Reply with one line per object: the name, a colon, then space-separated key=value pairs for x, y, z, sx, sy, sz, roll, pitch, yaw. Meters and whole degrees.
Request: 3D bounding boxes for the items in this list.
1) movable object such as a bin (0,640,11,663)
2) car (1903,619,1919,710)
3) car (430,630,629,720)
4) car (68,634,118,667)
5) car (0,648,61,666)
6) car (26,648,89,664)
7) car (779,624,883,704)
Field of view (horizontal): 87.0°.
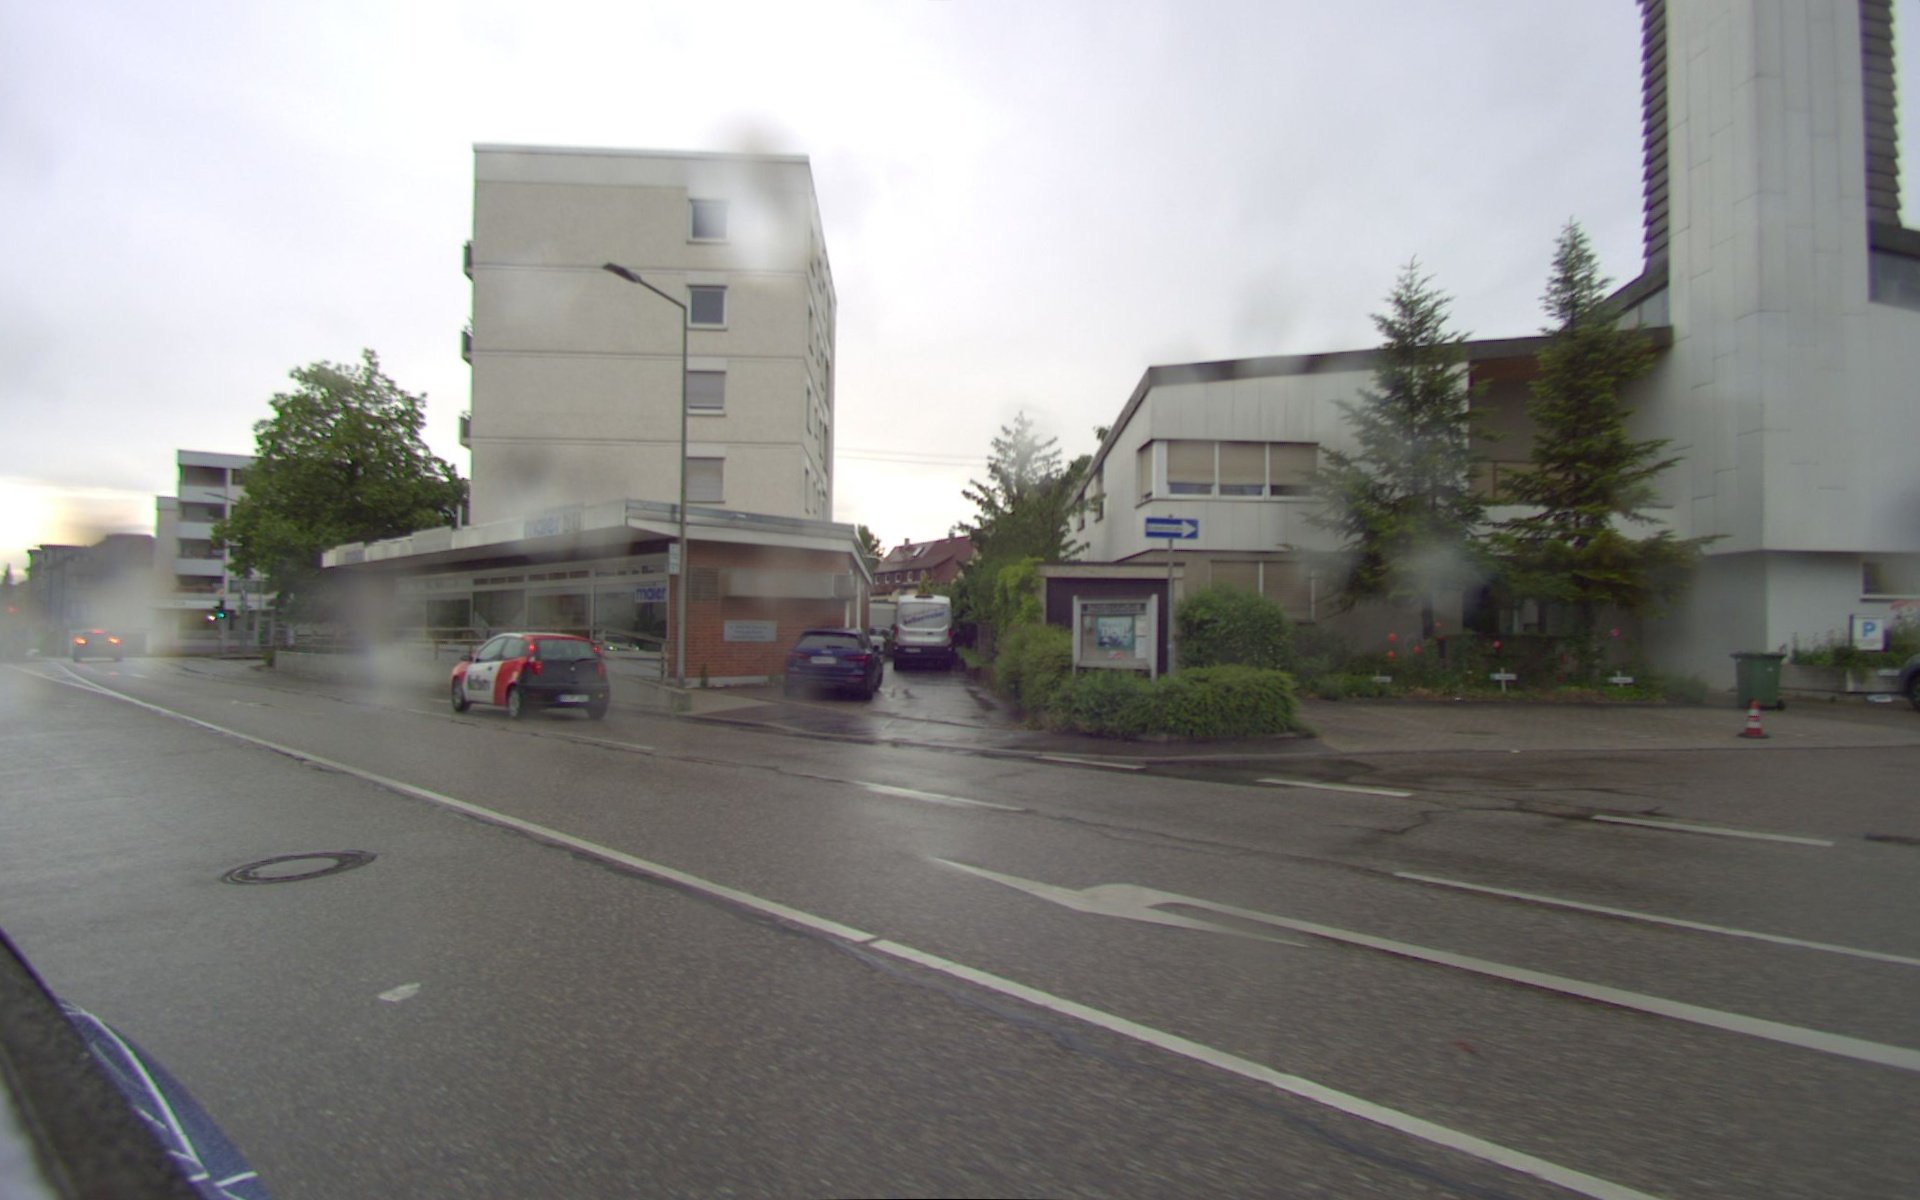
movable object such as a bin: x=-119.323 y=6.390 z=124.757 sx=2.878 sy=2.863 sz=2.203 roll=1 pitch=-3 yaw=-30
car: x=18.107 y=1.110 z=16.148 sx=2.104 sy=1.627 sz=4.383 roll=0 pitch=-2 yaw=3
car: x=-7.730 y=1.326 z=18.013 sx=3.999 sy=1.420 sz=1.679 roll=-3 pitch=-6 yaw=42
car: x=-43.568 y=2.550 z=50.852 sx=1.781 sy=1.569 sz=4.323 roll=1 pitch=-3 yaw=-42
car: x=-93.406 y=5.639 z=100.796 sx=5.387 sy=1.697 sz=2.154 roll=0 pitch=-3 yaw=-16
car: x=-88.531 y=5.459 z=99.275 sx=4.557 sy=1.508 sz=1.931 roll=2 pitch=-4 yaw=-44
car: x=-2.679 y=1.325 z=21.938 sx=1.970 sy=1.558 sz=4.475 roll=1 pitch=-2 yaw=-4
